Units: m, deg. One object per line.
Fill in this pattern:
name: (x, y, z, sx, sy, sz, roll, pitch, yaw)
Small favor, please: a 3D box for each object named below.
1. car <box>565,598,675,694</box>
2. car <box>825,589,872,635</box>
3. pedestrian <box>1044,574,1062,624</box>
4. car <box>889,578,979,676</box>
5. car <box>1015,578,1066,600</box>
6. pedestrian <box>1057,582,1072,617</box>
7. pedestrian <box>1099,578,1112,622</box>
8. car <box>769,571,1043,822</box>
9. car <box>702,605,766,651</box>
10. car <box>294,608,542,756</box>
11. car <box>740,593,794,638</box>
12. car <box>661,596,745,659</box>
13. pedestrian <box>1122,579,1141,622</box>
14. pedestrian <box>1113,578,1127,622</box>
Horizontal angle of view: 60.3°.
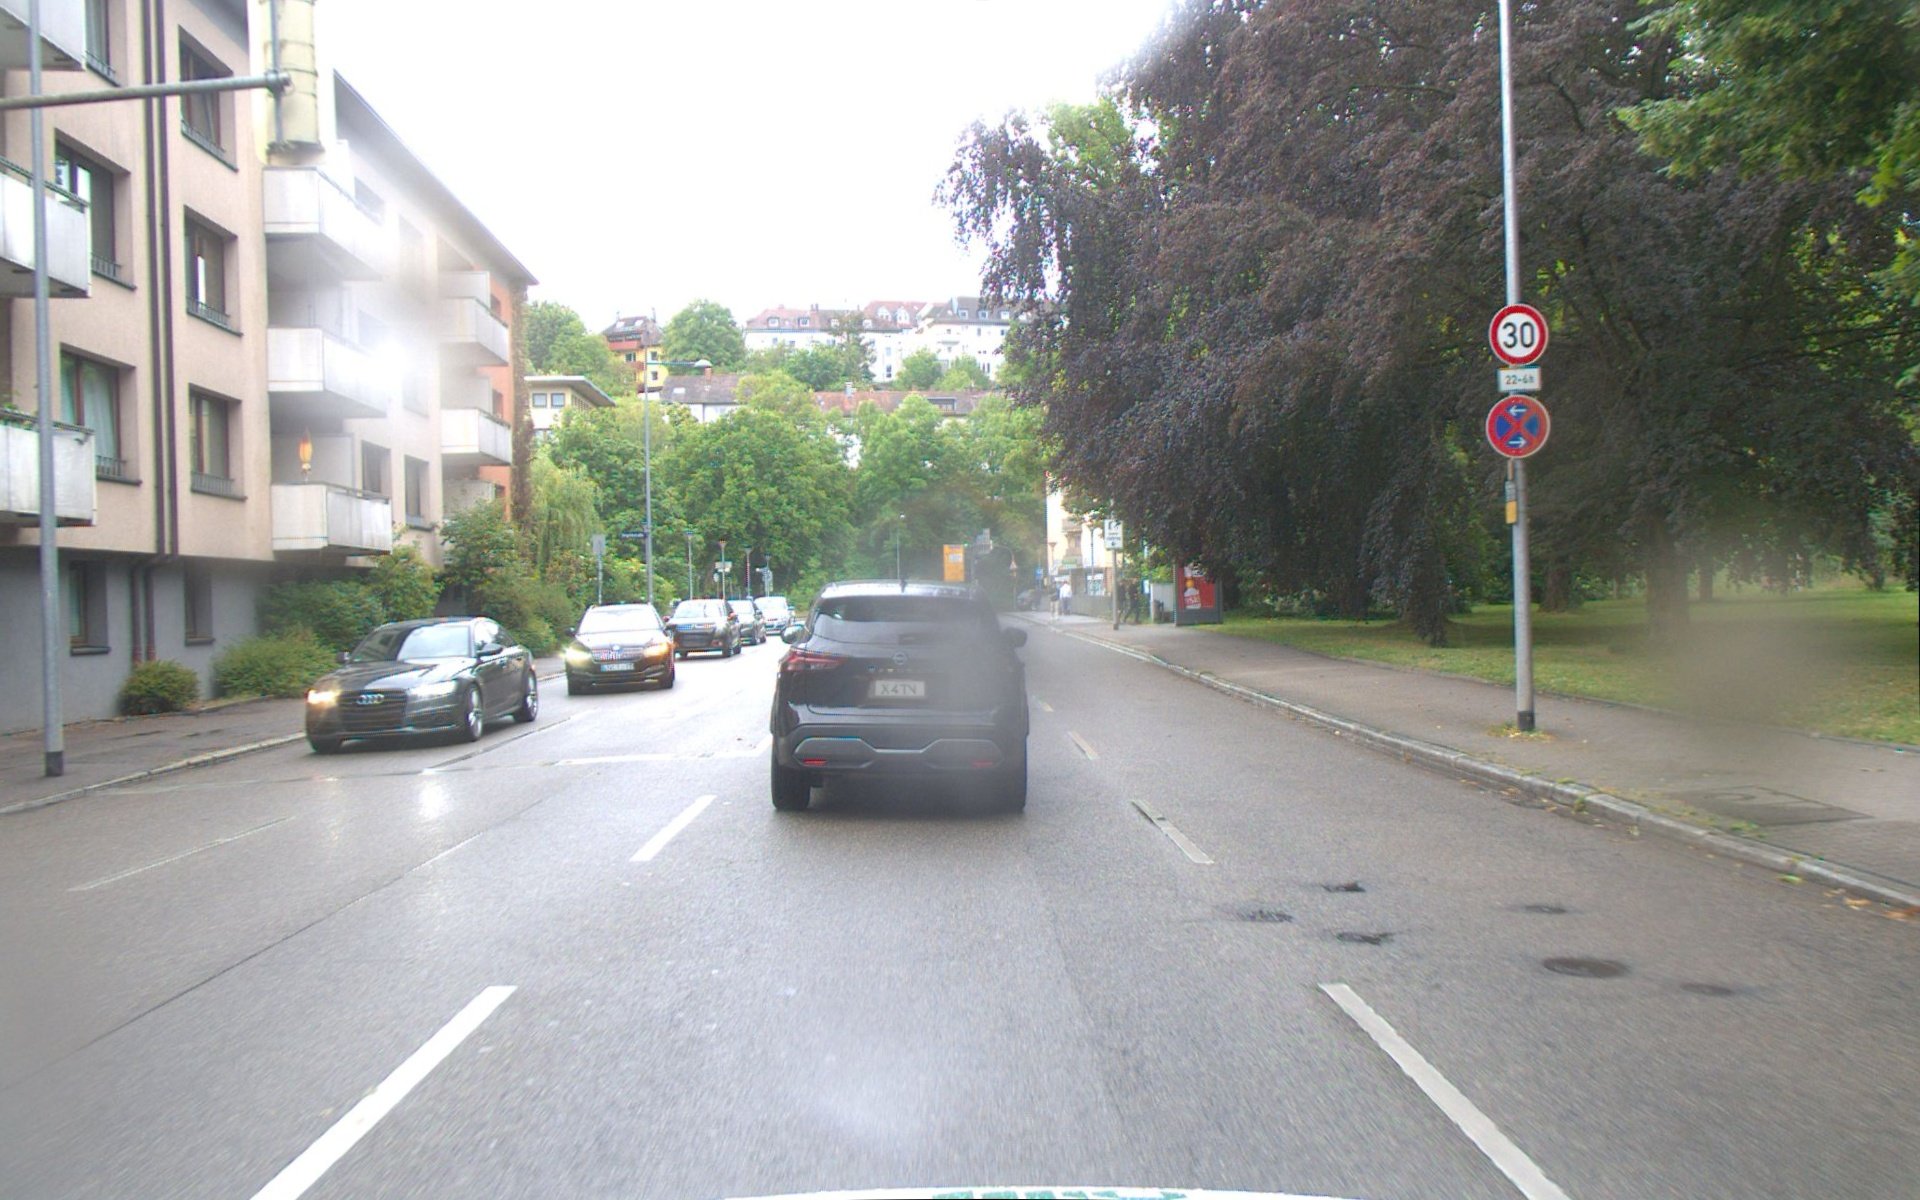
car: (-6.063, 0.771, 29.723, 1.716, 1.495, 4.206, -3, 0, -11)
car: (-4.690, 0.486, 69.925, 1.728, 1.788, 3.634, -2, 0, -1)
pedestrian: (4.248, -0.043, 75.507, 0.752, 2.222, 0.711, 1, -1, 2)
car: (-0.470, 0.489, 32.197, 1.588, 1.738, 3.771, -2, 0, 0)
car: (6.898, -0.929, 141.512, 3.917, 1.713, 1.994, -2, 0, -12)
pedestrian: (5.428, -0.037, 85.809, 0.606, 1.810, 0.778, -2, 0, -2)
pedestrian: (5.660, -0.004, 64.336, 0.465, 1.680, 0.490, 0, -1, 9)
car: (-0.392, 0.647, 12.776, 1.770, 1.618, 3.999, 1, -1, -1)
car: (-7.313, 0.884, 53.744, 1.643, 1.318, 3.750, -3, 0, -2)
car: (-6.484, 0.908, 20.280, 1.740, 1.495, 4.215, -3, 0, -2)
car: (-7.586, 0.592, 65.357, 1.715, 1.662, 3.634, -2, 0, -1)
car: (-6.701, 0.684, 43.538, 1.643, 1.495, 4.215, -3, 0, -2)
pedestrian: (6.734, 0.013, 64.856, 0.684, 1.680, 0.629, 0, -1, 9)
pedestrian: (6.224, 0.002, 64.308, 0.533, 1.680, 0.490, 0, -1, 9)
